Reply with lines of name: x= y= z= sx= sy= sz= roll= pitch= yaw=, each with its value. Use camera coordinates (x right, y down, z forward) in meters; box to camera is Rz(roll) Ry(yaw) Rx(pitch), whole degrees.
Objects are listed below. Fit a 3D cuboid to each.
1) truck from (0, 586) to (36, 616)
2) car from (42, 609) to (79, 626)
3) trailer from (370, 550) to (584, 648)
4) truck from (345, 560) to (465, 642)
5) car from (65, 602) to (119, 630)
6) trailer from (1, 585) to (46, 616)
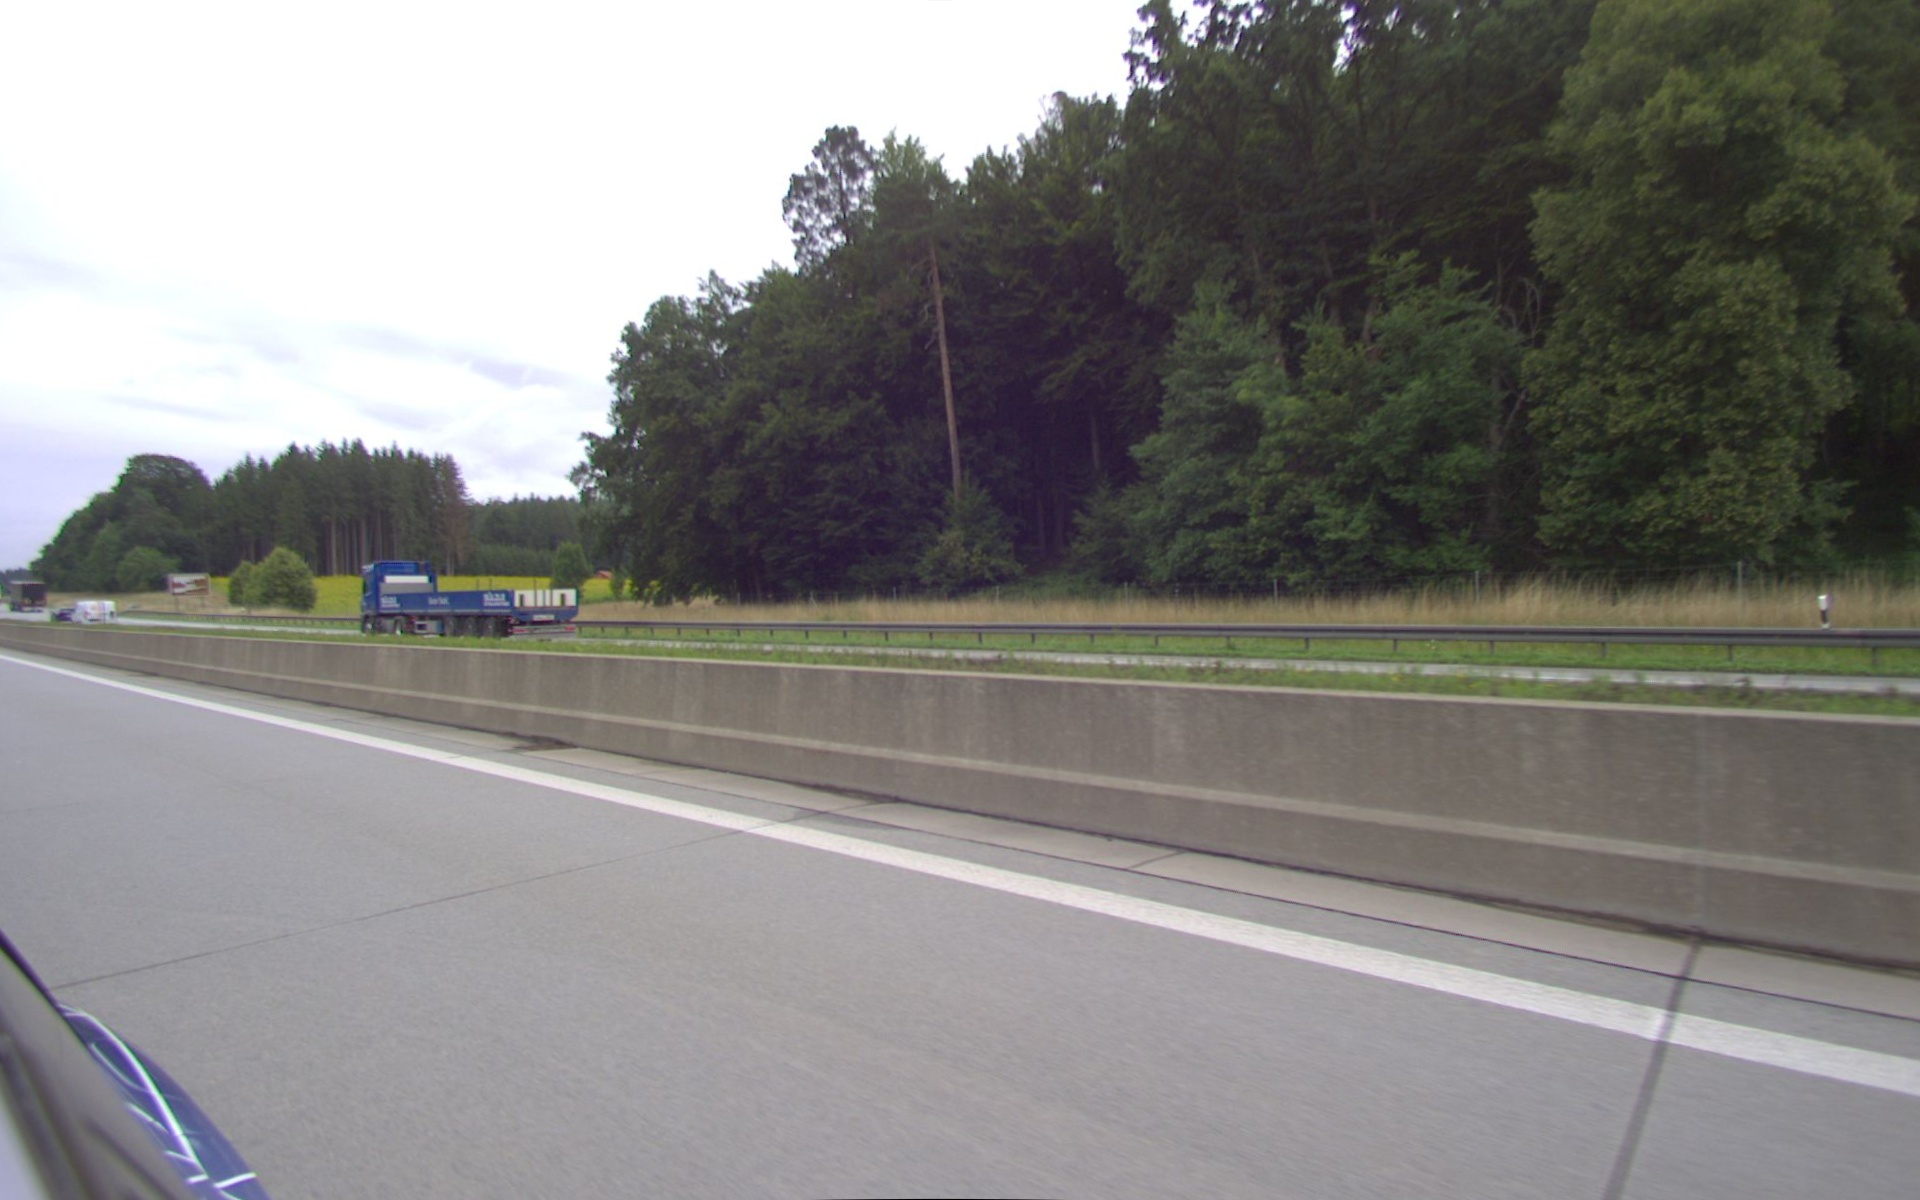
truck: x=-134.094 y=0.158 z=144.004 sx=7.164 sy=4.088 sz=3.179 roll=0 pitch=1 yaw=42
car: x=-80.380 y=1.537 z=90.411 sx=4.432 sy=1.387 sz=1.829 roll=0 pitch=1 yaw=39
trailer: x=-20.504 y=-0.029 z=42.177 sx=13.878 sy=3.534 sz=2.756 roll=0 pitch=1 yaw=41
truck: x=-25.726 y=0.037 z=46.761 sx=6.637 sy=3.543 sz=2.728 roll=0 pitch=1 yaw=41
car: x=-60.583 y=1.084 z=70.632 sx=5.494 sy=1.815 sz=2.066 roll=0 pitch=1 yaw=41
trailer: x=-129.693 y=0.102 z=140.065 sx=14.126 sy=4.083 sz=3.201 roll=0 pitch=1 yaw=42
